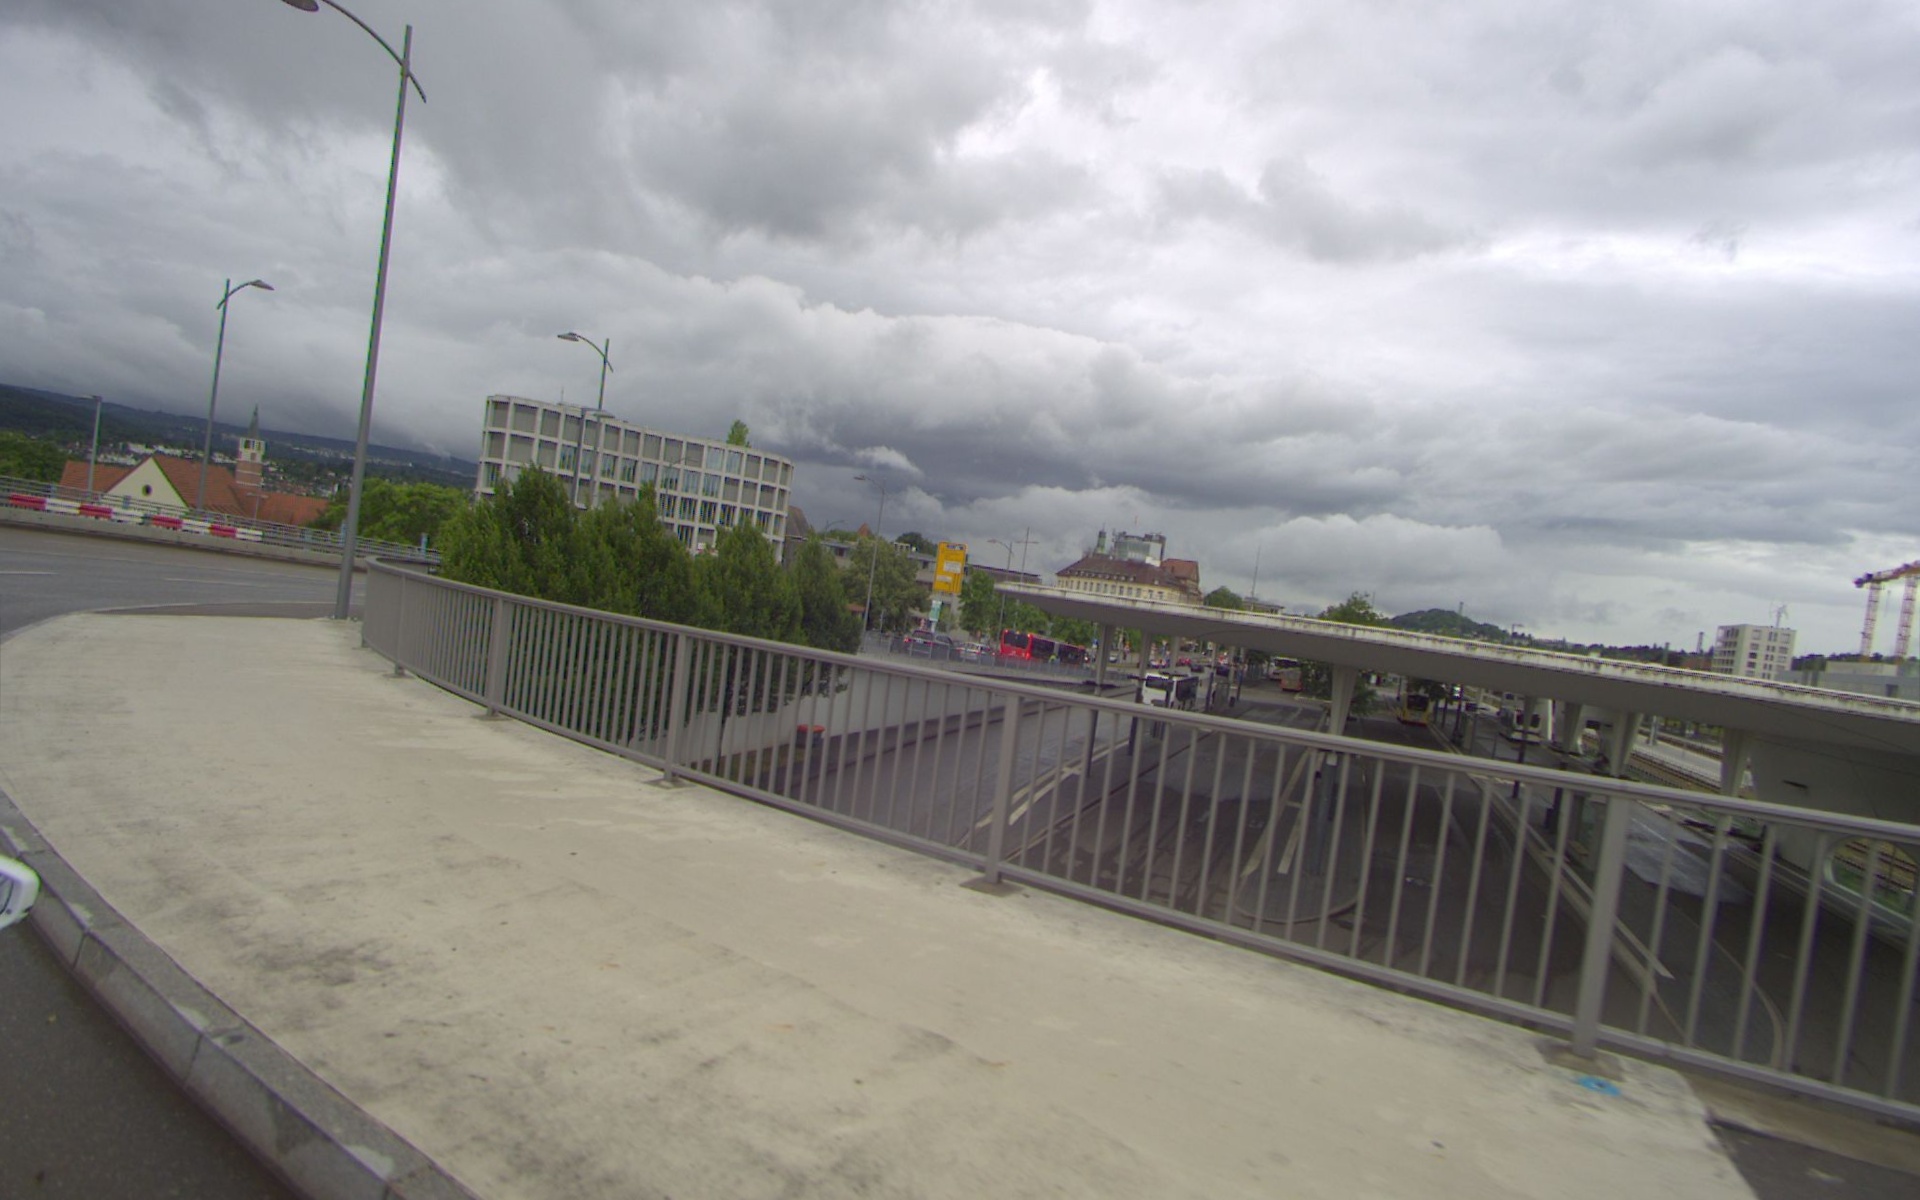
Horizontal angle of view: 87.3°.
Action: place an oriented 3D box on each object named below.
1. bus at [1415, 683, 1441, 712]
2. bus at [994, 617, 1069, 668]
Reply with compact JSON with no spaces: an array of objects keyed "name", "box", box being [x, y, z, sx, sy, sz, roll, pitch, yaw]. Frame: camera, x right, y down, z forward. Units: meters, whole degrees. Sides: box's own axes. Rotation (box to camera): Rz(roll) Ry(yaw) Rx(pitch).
[{"name":"bus","box":[61.257,12.686,131.819,2.561,3.248,6.991,9,0,24]},{"name":"bus","box":[6.092,3.614,83.590,2.785,3.225,10.317,10,-1,22]}]
